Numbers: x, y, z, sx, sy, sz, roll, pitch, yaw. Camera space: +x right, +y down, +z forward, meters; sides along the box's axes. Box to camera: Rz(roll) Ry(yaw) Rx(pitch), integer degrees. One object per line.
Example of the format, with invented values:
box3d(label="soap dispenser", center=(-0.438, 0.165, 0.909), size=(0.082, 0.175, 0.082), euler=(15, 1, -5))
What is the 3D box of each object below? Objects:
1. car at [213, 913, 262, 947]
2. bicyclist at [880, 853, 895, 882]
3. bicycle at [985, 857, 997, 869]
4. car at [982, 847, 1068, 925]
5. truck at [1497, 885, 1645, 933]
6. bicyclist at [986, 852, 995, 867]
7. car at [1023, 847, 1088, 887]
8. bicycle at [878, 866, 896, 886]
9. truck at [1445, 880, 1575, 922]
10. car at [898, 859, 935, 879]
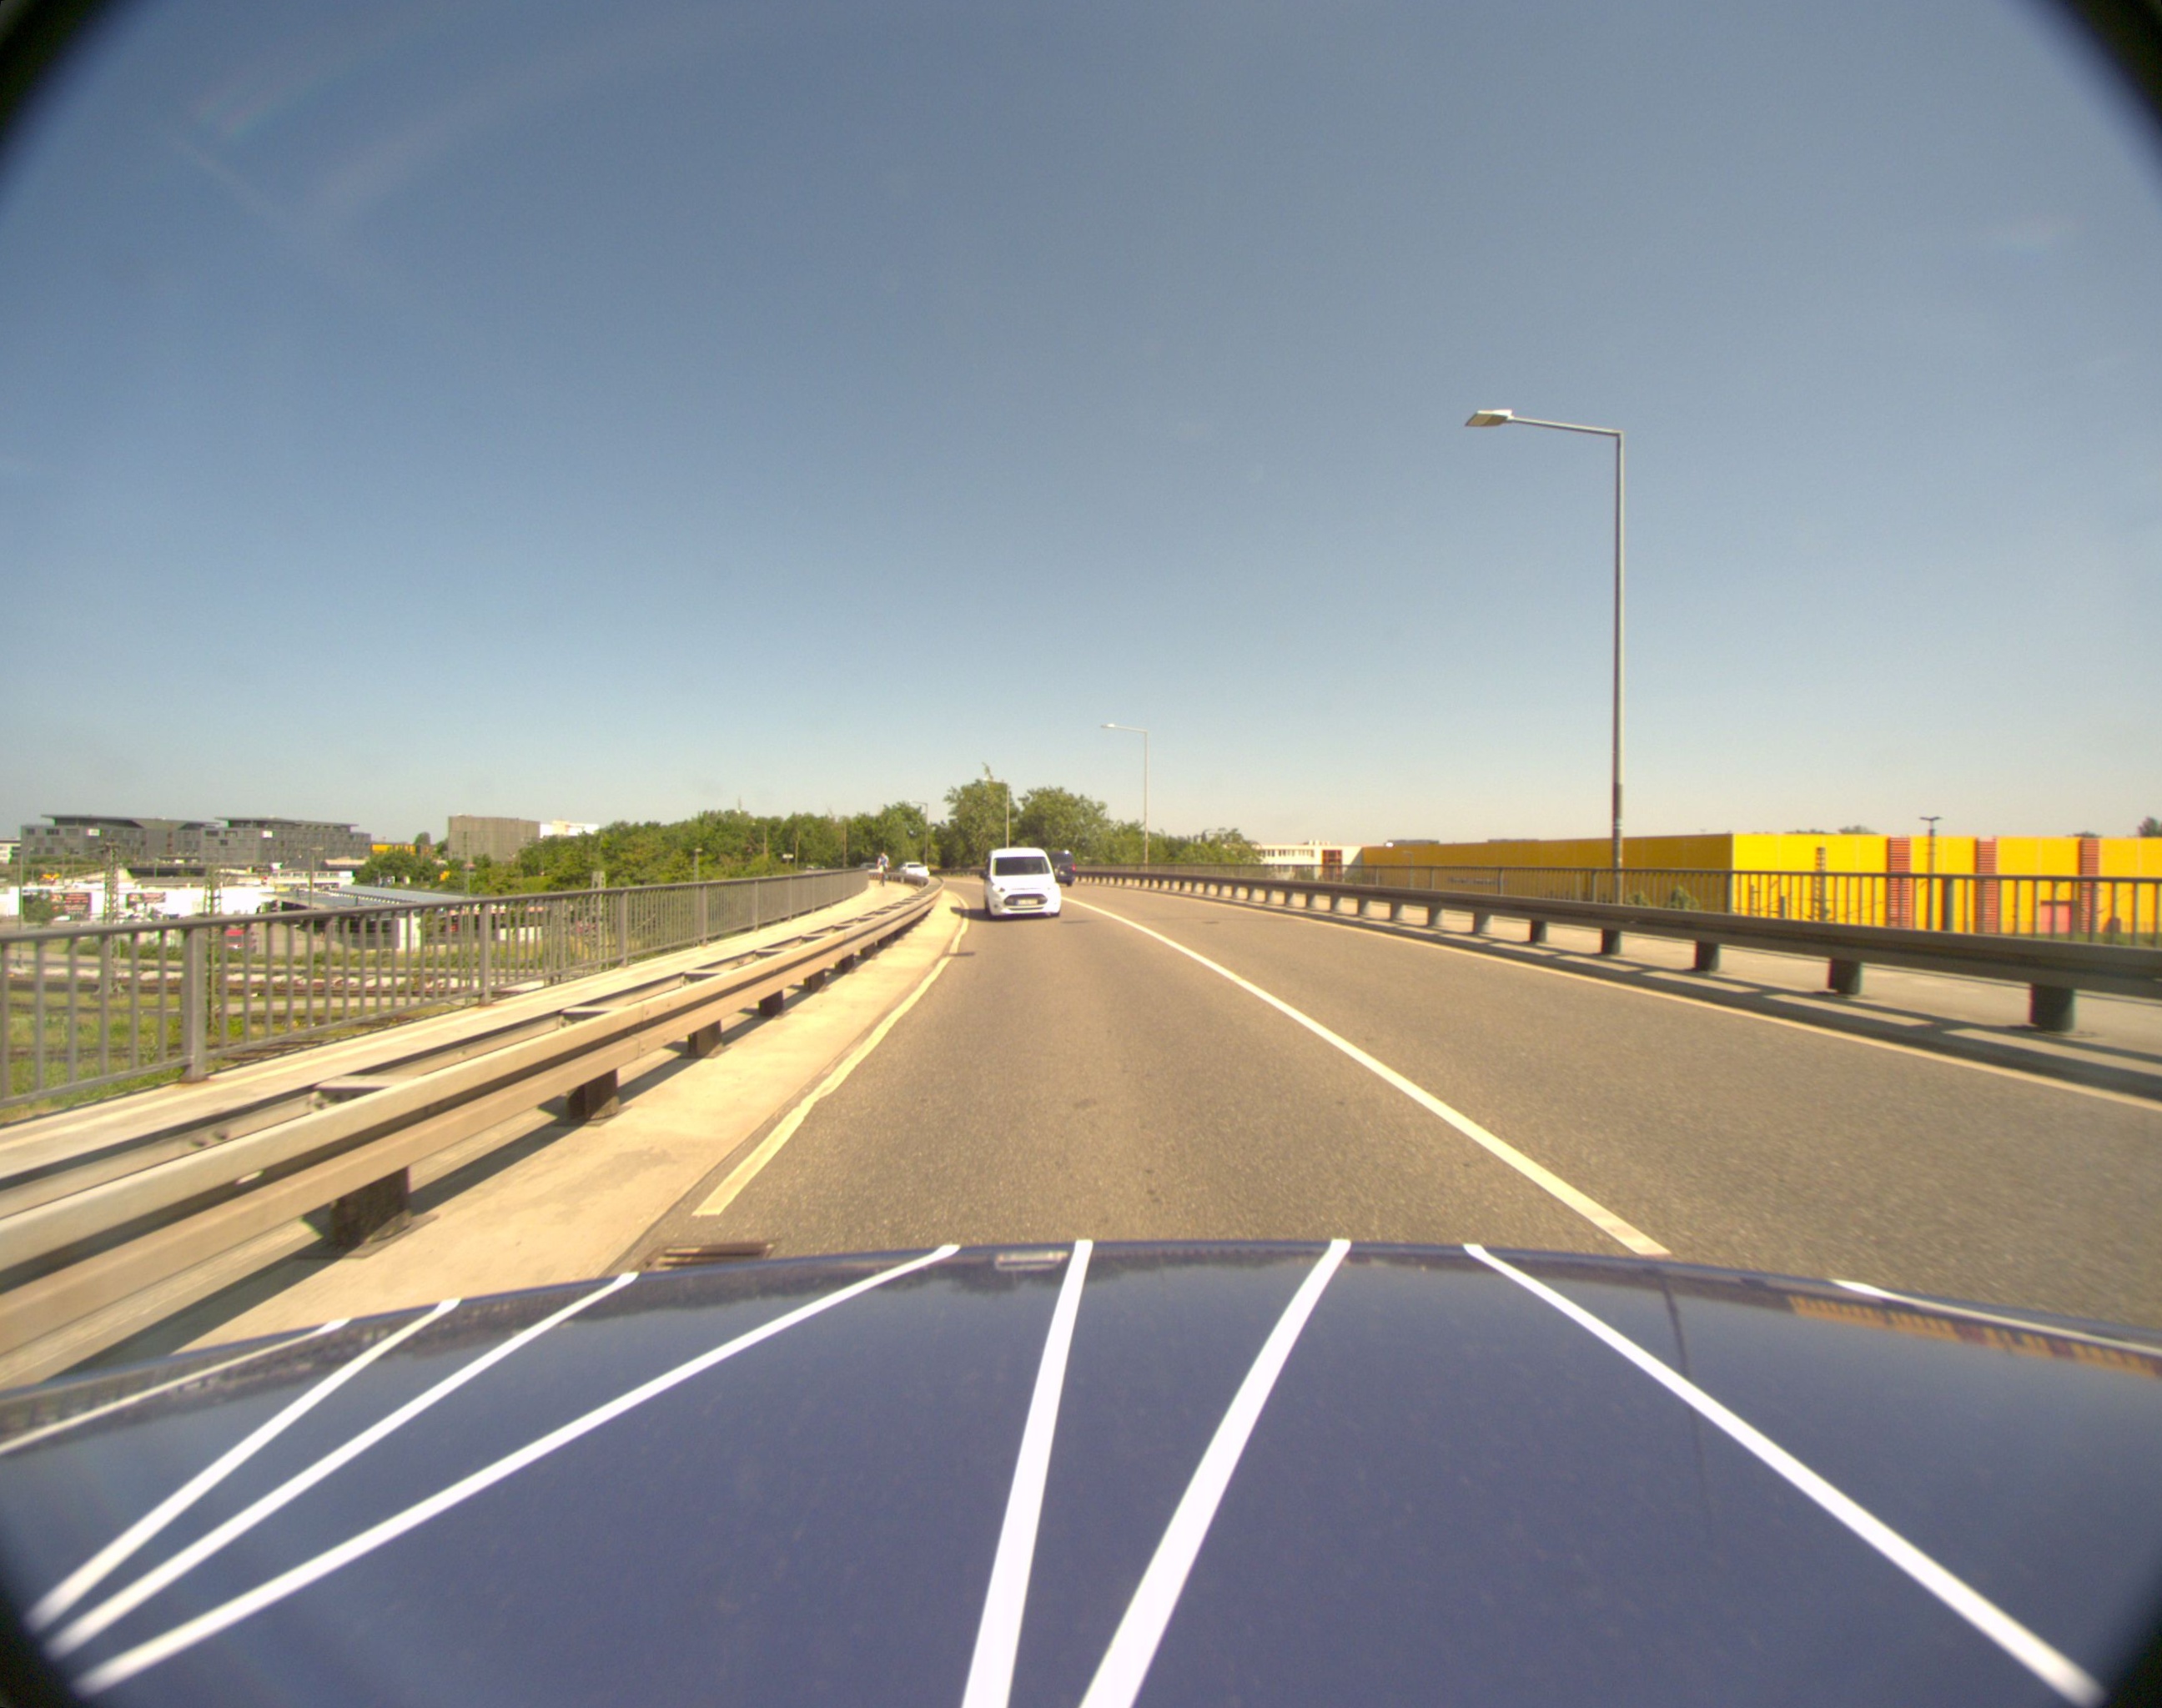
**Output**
box3d(label="car", center=(-83.896, 7.544, 75.566), size=(5.362, 2.650, 2.311), euler=(1, 6, 35))
box3d(label="bicyclist", center=(-10.351, 0.723, 40.635), size=(0.661, 1.511, 0.801), euler=(2, 0, -23))
box3d(label="bicycle", center=(-8.288, 0.813, 69.939), size=(0.614, 1.128, 2.146), euler=(2, -1, -18))
box3d(label="car", center=(-1.629, 0.766, 20.387), size=(1.898, 1.785, 4.444), euler=(-2, 0, -9))
box3d(label="truck", center=(68.117, 7.538, 105.938), size=(17.545, 5.644, 5.972), euler=(-1, 1, -7))
box3d(label="bicyclist", center=(-8.328, 0.491, 70.069), size=(0.610, 1.430, 1.076), euler=(1, 0, -19))
box3d(label="car", center=(-1.477, 0.724, 40.610), size=(2.083, 1.877, 5.908), euler=(-4, 0, -15))
box3d(label="bicycle", center=(-10.376, 1.160, 40.659), size=(0.705, 1.013, 1.843), euler=(2, -2, -21))
box3d(label="truck", center=(66.707, 7.166, 118.525), size=(17.545, 5.644, 5.972), euler=(-1, 1, -7))
box3d(label="car", center=(-13.385, 1.193, 61.638), size=(1.850, 1.479, 4.143), euler=(-2, 0, -28))
